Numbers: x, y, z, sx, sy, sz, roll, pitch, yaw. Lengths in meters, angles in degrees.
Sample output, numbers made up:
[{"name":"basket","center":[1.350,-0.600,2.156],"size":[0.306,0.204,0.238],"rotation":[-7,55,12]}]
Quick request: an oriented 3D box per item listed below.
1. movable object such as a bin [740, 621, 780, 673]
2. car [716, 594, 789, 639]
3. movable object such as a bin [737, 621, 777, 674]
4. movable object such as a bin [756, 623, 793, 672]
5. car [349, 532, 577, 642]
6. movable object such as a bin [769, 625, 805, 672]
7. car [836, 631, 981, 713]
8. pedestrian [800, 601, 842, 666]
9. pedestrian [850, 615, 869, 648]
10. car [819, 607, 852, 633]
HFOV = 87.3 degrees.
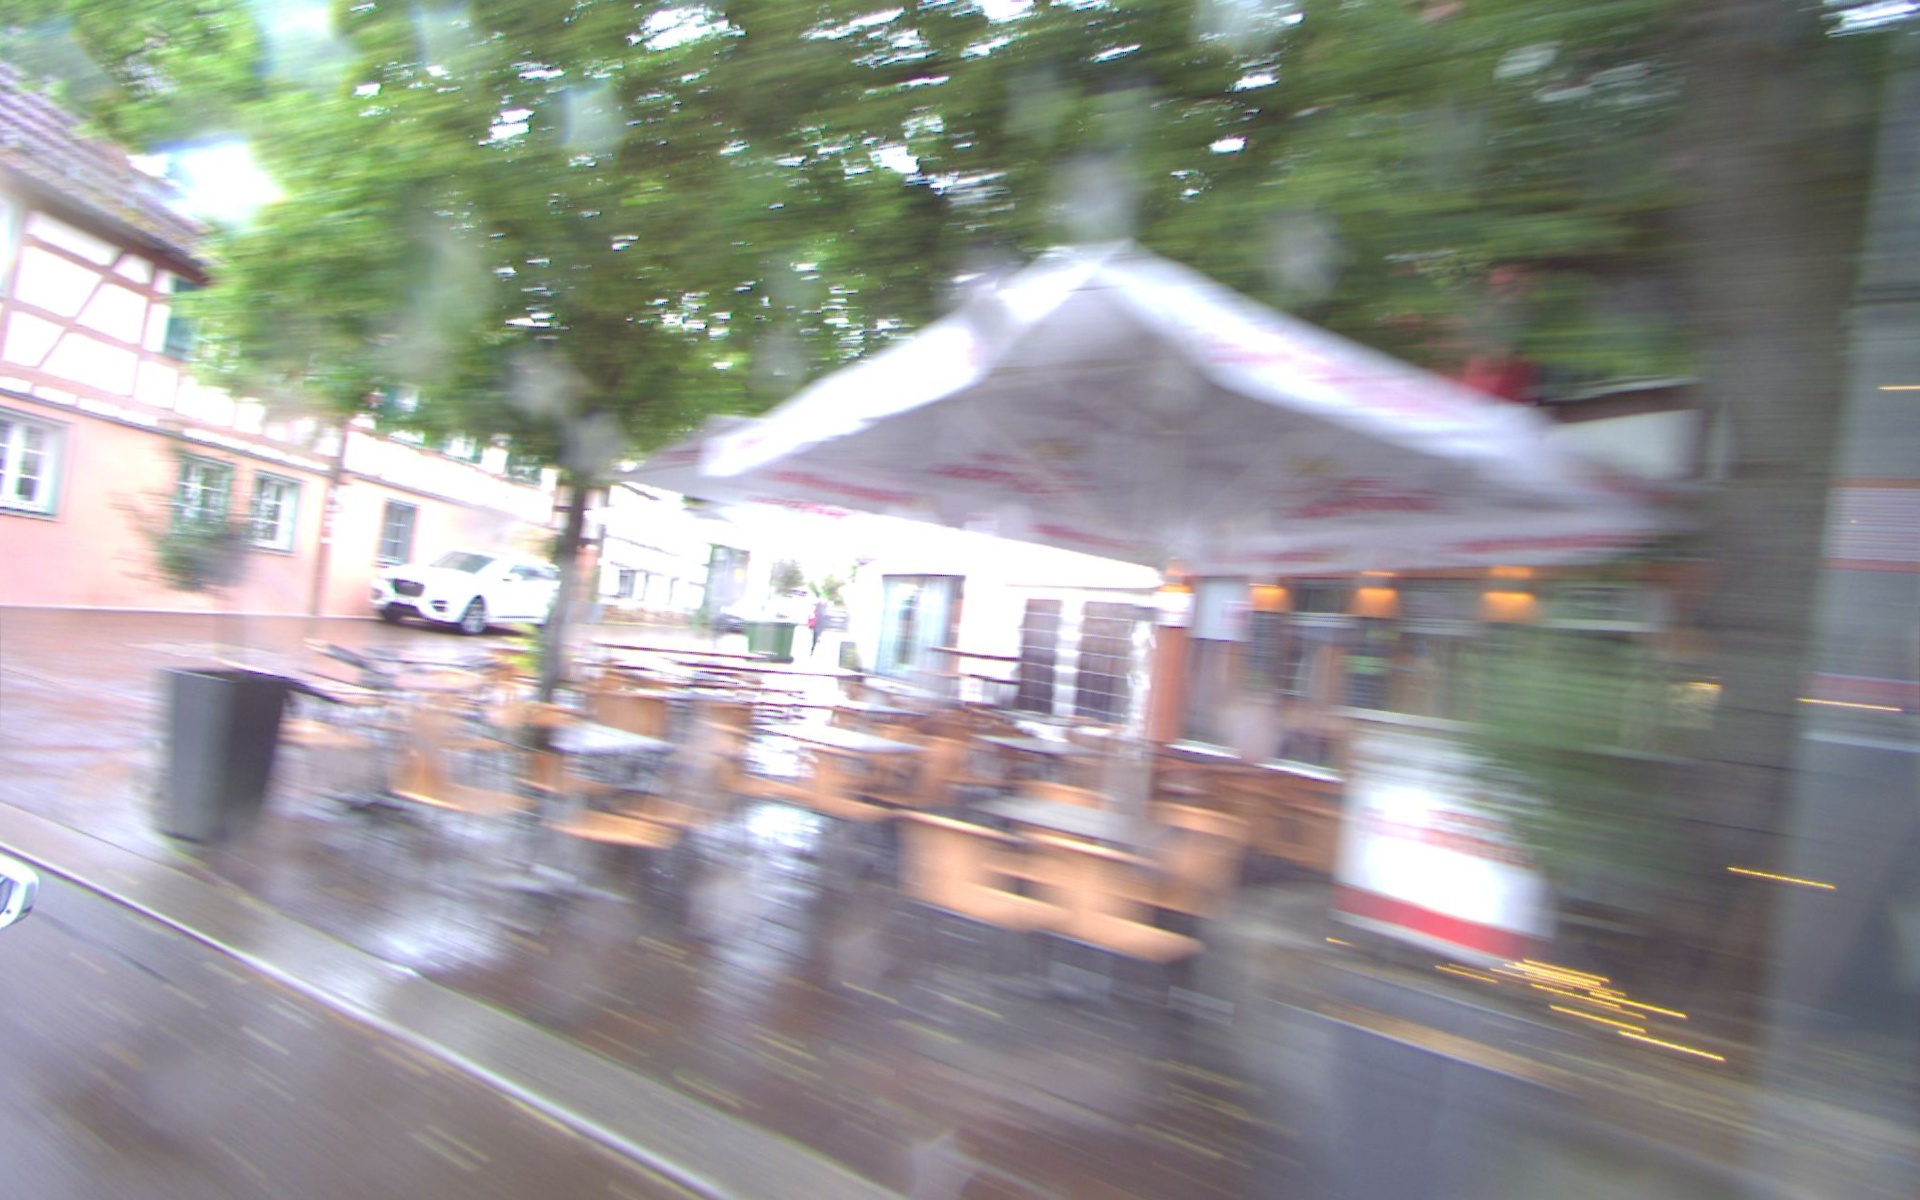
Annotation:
[{"name":"movable object such as a bin","center":[-4.624,1.090,23.291],"size":[0.595,1.106,0.657],"rotation":[7,-1,8]},{"name":"car","center":[-8.703,0.749,42.621],"size":[1.962,1.547,4.004],"rotation":[7,-2,3]},{"name":"movable object such as a bin","center":[-4.550,1.073,22.574],"size":[0.595,1.106,0.657],"rotation":[7,-1,8]},{"name":"movable object such as a bin","center":[-4.463,1.156,24.248],"size":[0.595,1.106,0.657],"rotation":[7,-1,8]},{"name":"car","center":[-10.052,-0.159,20.822],"size":[1.909,1.649,4.472],"rotation":[10,-2,7]},{"name":"movable object such as a bin","center":[-4.323,1.212,25.117],"size":[0.595,1.106,0.657],"rotation":[7,-1,8]},{"name":"car","center":[-1.474,1.992,28.152],"size":[3.671,1.792,1.623],"rotation":[8,-2,-12]},{"name":"pedestrian","center":[-3.510,0.856,25.431],"size":[0.747,1.535,0.842],"rotation":[7,-1,1]},{"name":"pedestrian","center":[-5.598,1.756,55.811],"size":[0.822,1.723,0.901],"rotation":[7,-1,-9]},{"name":"car","center":[-8.426,1.403,68.239],"size":[1.965,1.458,4.025],"rotation":[7,-2,-6]}]
